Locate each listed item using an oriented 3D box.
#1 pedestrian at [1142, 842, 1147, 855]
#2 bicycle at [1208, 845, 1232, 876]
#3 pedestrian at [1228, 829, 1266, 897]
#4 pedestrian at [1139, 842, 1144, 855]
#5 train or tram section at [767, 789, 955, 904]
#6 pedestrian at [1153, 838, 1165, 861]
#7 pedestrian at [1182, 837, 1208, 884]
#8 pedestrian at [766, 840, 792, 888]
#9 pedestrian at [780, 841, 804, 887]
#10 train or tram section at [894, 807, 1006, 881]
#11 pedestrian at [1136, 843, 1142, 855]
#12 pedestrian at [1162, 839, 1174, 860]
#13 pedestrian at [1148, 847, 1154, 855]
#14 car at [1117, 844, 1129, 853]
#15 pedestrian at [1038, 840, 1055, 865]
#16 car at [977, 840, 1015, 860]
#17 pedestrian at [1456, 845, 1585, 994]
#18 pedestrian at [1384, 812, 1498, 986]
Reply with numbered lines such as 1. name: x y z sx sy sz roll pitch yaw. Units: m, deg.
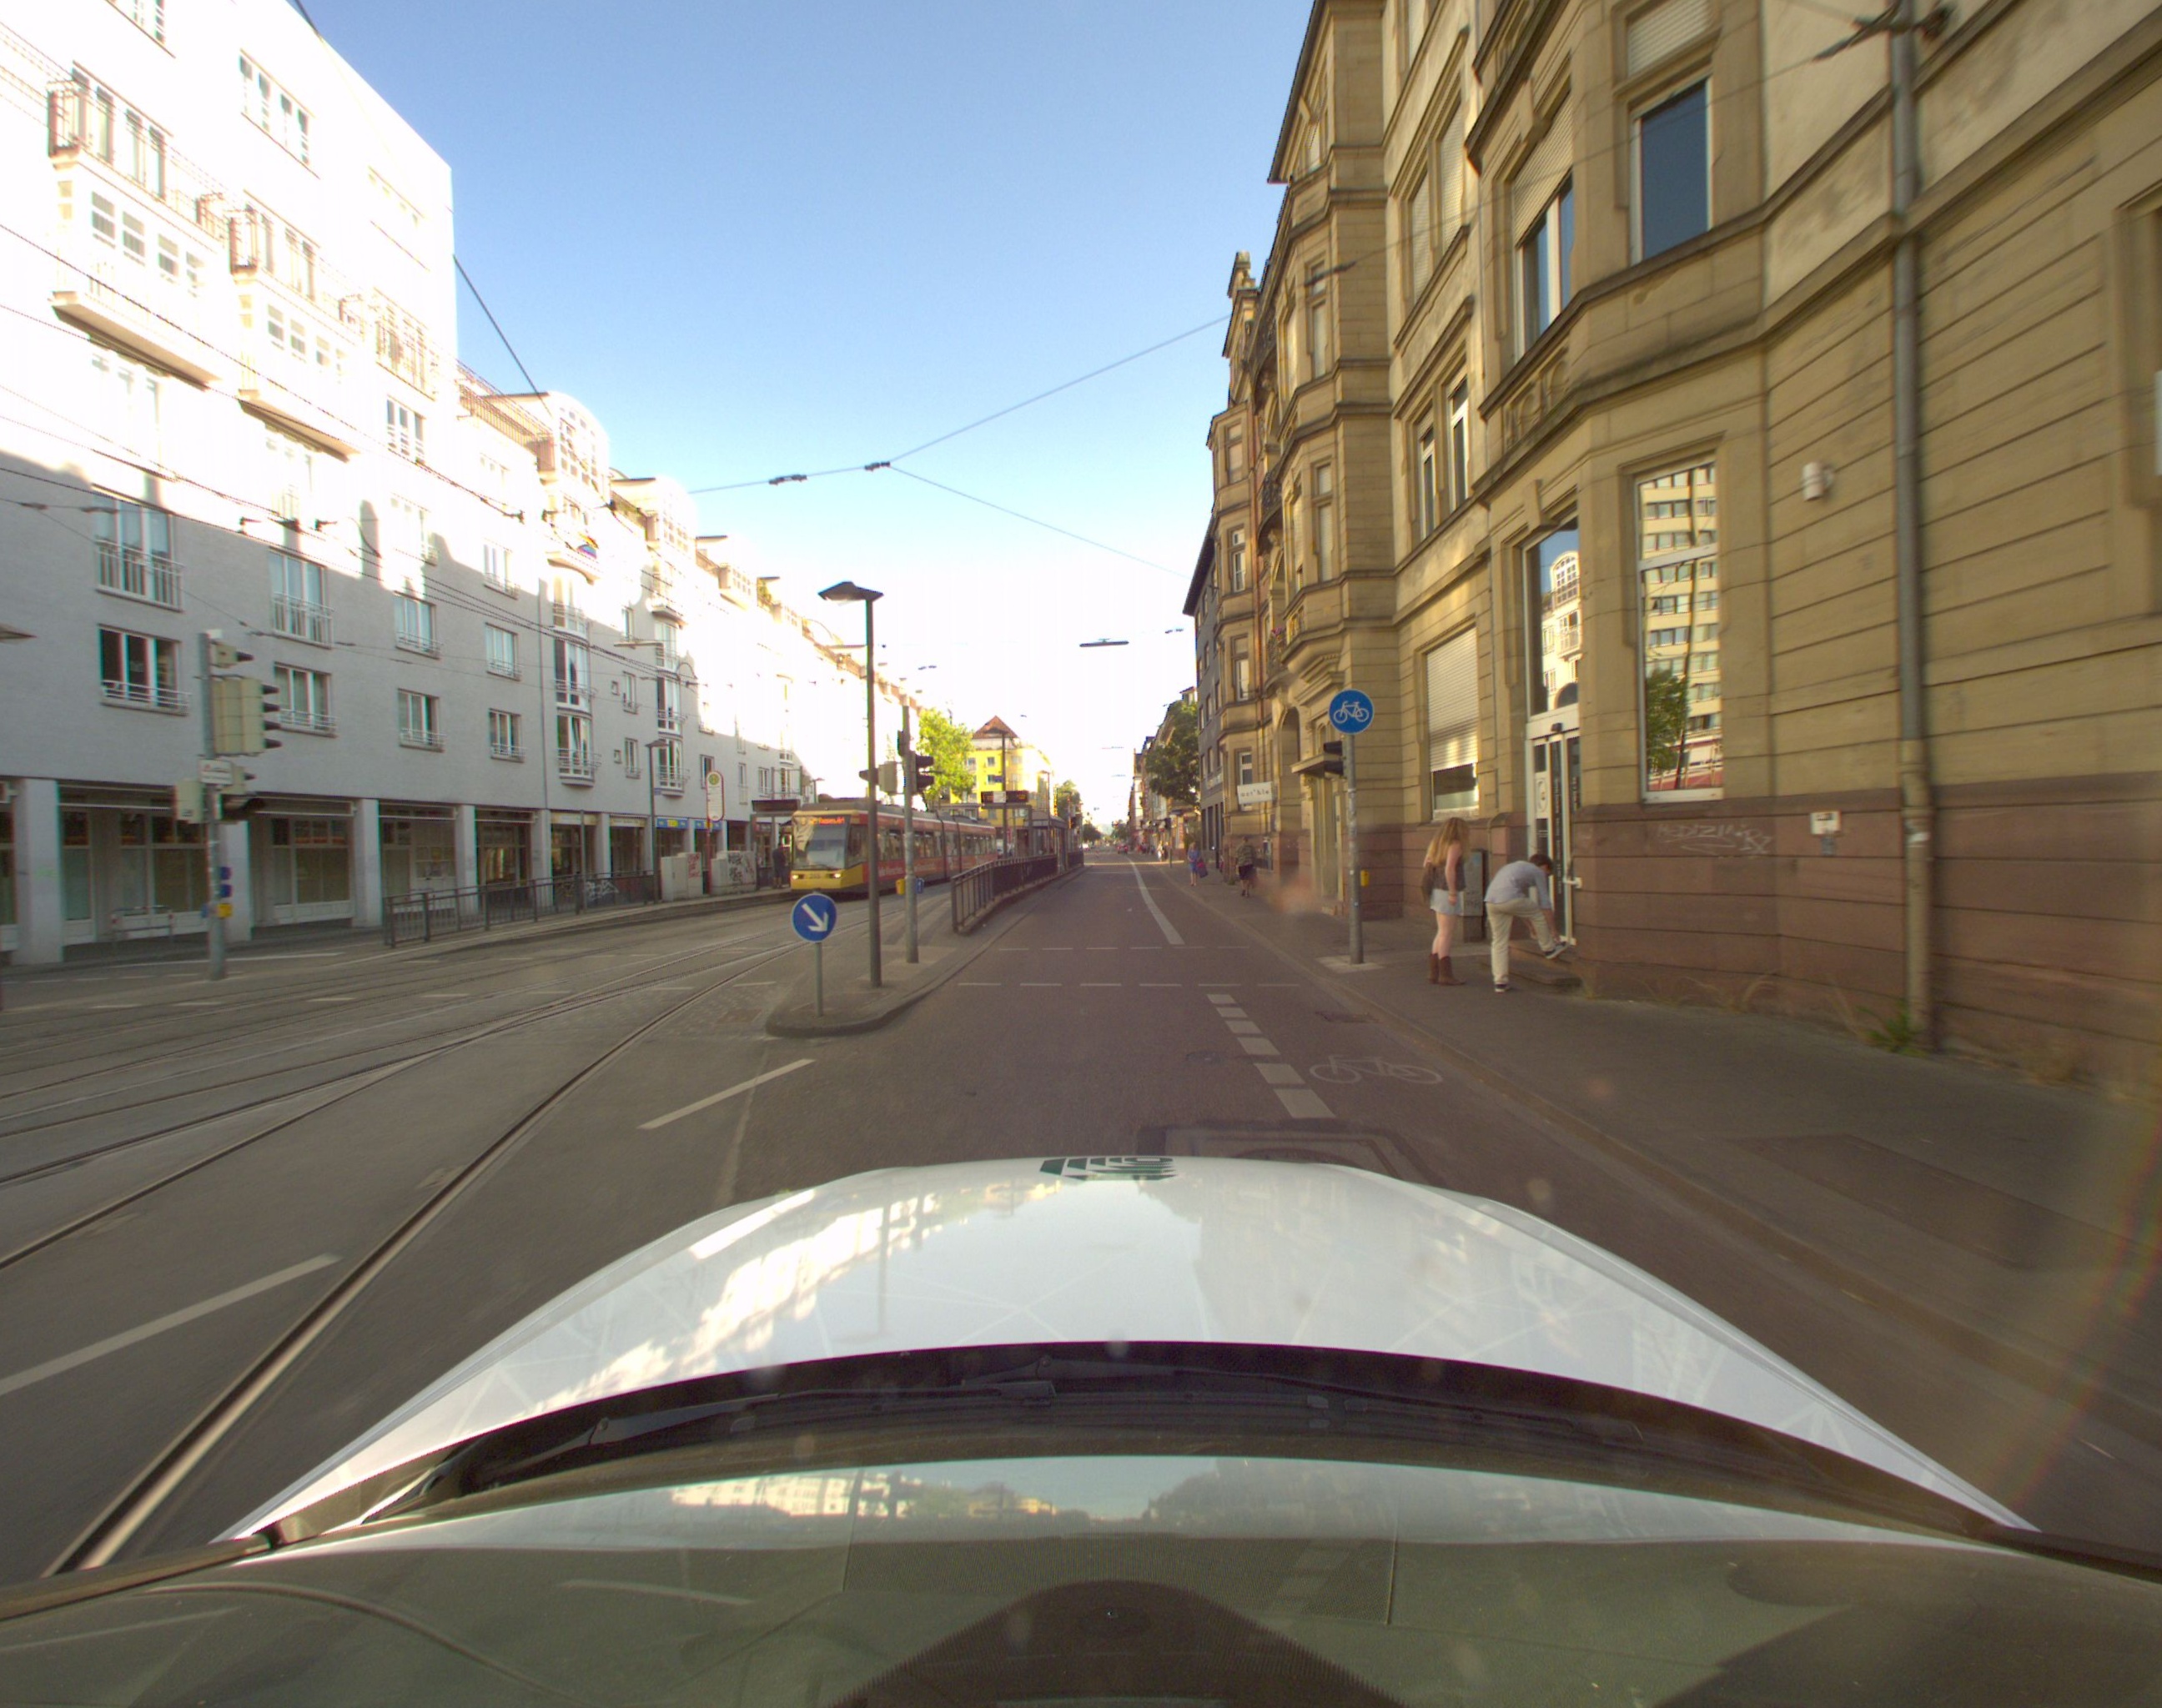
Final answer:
1. pedestrian: 8.636 -0.744 111.110 0.645 1.796 0.563 -3 2 6
2. bicycle: 5.982 0.245 35.085 0.621 1.197 1.908 -6 2 1
3. pedestrian: 4.717 0.236 23.186 0.798 1.823 0.798 -4 2 2
4. pedestrian: 8.072 -0.735 108.079 0.556 1.796 0.652 -3 2 9
5. train or tram section: -7.981 -0.427 32.588 2.873 3.489 14.180 -2 2 3
6. pedestrian: 6.282 -0.380 65.719 0.711 1.774 0.773 -6 3 -1
7. pedestrian: 4.246 0.239 30.269 0.760 1.645 0.833 -4 2 2
8. pedestrian: -11.026 0.362 29.725 0.596 1.691 0.614 -3 1 2
9. pedestrian: -11.231 0.389 31.660 0.756 1.732 0.523 -2 2 44
10. train or tram section: -7.065 -0.718 47.179 2.872 3.489 14.970 -2 2 4
11. pedestrian: 9.082 -0.803 127.262 0.840 1.917 0.662 -3 2 0
12. pedestrian: 7.022 -0.388 65.778 0.711 1.602 0.773 -6 3 -1
13. pedestrian: 9.585 -0.403 111.206 0.686 1.043 0.682 -3 2 6
14. car: 7.467 -0.928 146.104 1.986 1.449 4.003 -2 2 2
15. pedestrian: -1.664 -0.066 39.198 0.682 1.175 0.537 -3 2 3
16. car: -12.124 -0.597 116.331 5.084 2.575 2.131 -2 2 3
17. pedestrian: 4.267 0.606 7.953 0.791 1.331 0.719 -4 0 0
18. pedestrian: 3.798 0.457 8.650 0.791 1.721 0.719 -4 0 0
